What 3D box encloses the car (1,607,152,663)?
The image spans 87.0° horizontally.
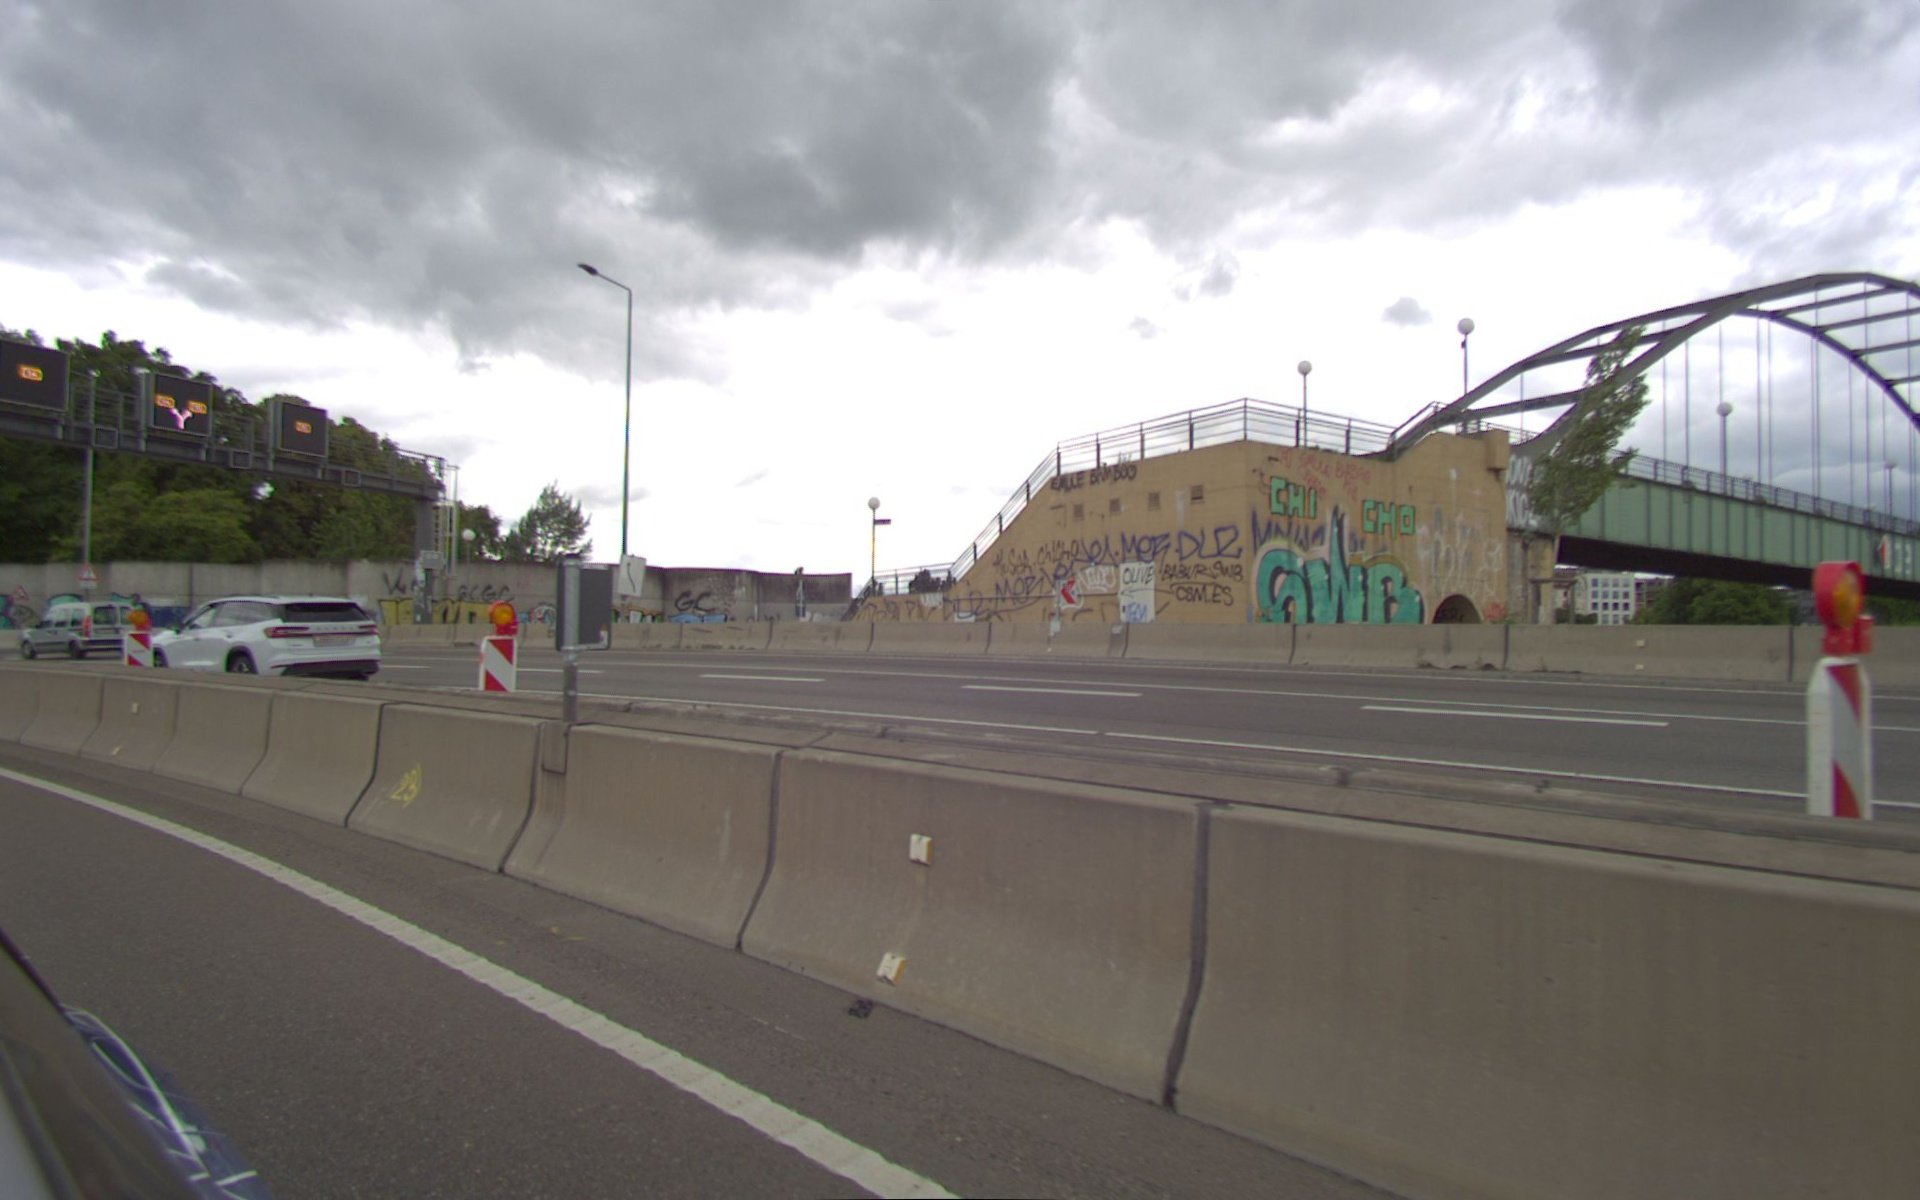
[{"bbox_3d":[-28.017,1.090,32.092,4.232,1.698,1.984,-1,-1,23],"label":"car"}]

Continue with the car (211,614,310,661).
[{"bbox_3d":[-23.325,1.225,33.749,2.929,1.487,1.614,-1,-1,30],"label":"car"}]

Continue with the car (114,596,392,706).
[{"bbox_3d":[-11.812,0.790,16.794,5.129,1.564,2.080,-2,-1,34],"label":"car"}]
